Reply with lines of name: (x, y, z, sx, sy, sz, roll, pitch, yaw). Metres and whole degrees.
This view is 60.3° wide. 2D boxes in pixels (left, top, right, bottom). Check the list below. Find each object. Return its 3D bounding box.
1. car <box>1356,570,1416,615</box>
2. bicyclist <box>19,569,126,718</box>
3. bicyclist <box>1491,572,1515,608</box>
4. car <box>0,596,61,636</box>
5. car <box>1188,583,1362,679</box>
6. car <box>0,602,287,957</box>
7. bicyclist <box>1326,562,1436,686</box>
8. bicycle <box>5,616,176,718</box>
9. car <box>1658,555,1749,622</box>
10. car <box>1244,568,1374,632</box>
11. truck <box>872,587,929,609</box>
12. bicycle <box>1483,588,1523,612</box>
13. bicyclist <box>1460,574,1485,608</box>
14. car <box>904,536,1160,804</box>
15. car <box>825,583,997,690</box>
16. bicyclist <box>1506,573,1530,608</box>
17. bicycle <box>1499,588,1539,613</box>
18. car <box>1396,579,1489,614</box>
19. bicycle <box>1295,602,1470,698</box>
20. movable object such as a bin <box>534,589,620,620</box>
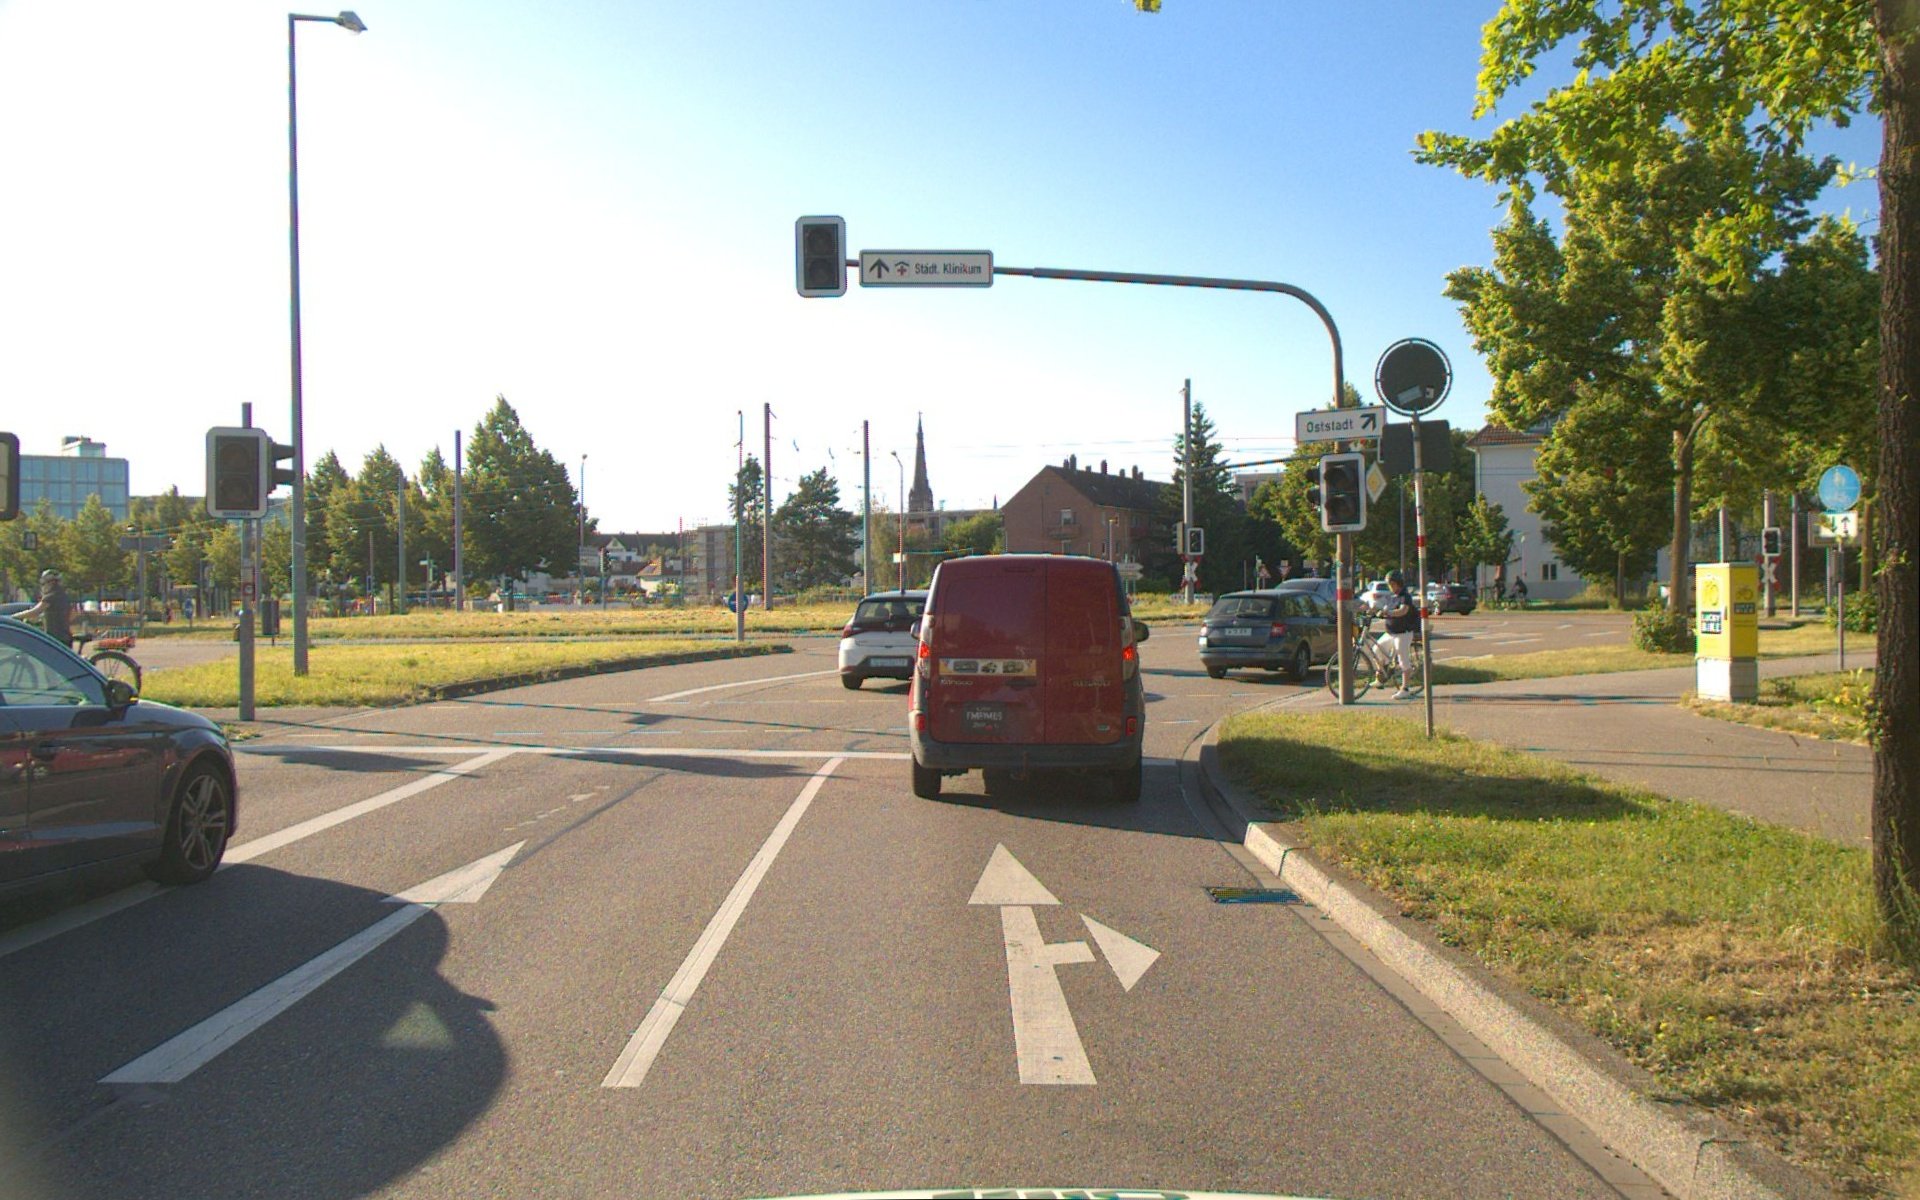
car: (16.618, -0.296, 64.745, 1.951, 1.667, 4.412, -1, 1, 11)
bicyclist: (-10.330, 0.498, 19.279, 0.923, 1.692, 0.702, 0, -1, -10)
bicyclist: (29.050, -0.530, 88.494, 0.798, 1.885, 1.019, 1, -1, -21)
car: (-39.636, 0.664, 69.085, 1.963, 1.568, 4.323, -1, 1, -3)
car: (5.399, 0.472, 27.967, 1.681, 1.461, 4.145, -1, 0, 29)
car: (-4.655, 0.716, 6.962, 1.723, 1.404, 4.360, 0, 0, 2)
bicyclist: (5.645, 0.320, 22.198, 1.070, 1.589, 0.870, -2, -1, -24)
bicycle: (-10.137, 0.771, 19.322, 1.620, 1.148, 0.702, 0, -1, -11)
car: (22.765, -0.327, 50.772, 1.955, 1.930, 4.755, -1, -1, 17)
car: (9.339, -0.036, 43.976, 1.958, 1.602, 4.396, -1, 1, 33)
truck: (-5.757, -0.143, 159.000, 2.150, 2.049, 6.344, 2, -1, -39)
bicycle: (29.045, 0.006, 88.496, 0.804, 1.288, 2.195, 1, -1, -21)
bicyclist: (28.557, -0.479, 92.124, 0.875, 1.885, 1.012, 2, -1, -37)
car: (0.570, 0.487, 13.444, 1.765, 1.845, 3.810, 1, 0, 2)
car: (-0.663, 0.515, 25.408, 1.764, 1.487, 3.813, 1, 0, 12)
bicyclist: (30.022, -0.510, 88.972, 0.798, 1.885, 1.019, 1, -1, -21)
bicycle: (30.046, 0.026, 88.911, 0.804, 1.288, 2.195, 1, -1, -21)
car: (22.900, -0.179, 78.679, 1.966, 1.566, 4.379, -1, 1, -22)
bicycle: (5.674, 0.655, 22.208, 2.181, 1.175, 0.870, -2, -1, -24)
movable object such as a bin: (-37.441, 0.416, 161.900, 7.859, 2.831, 2.901, -1, 0, -40)
